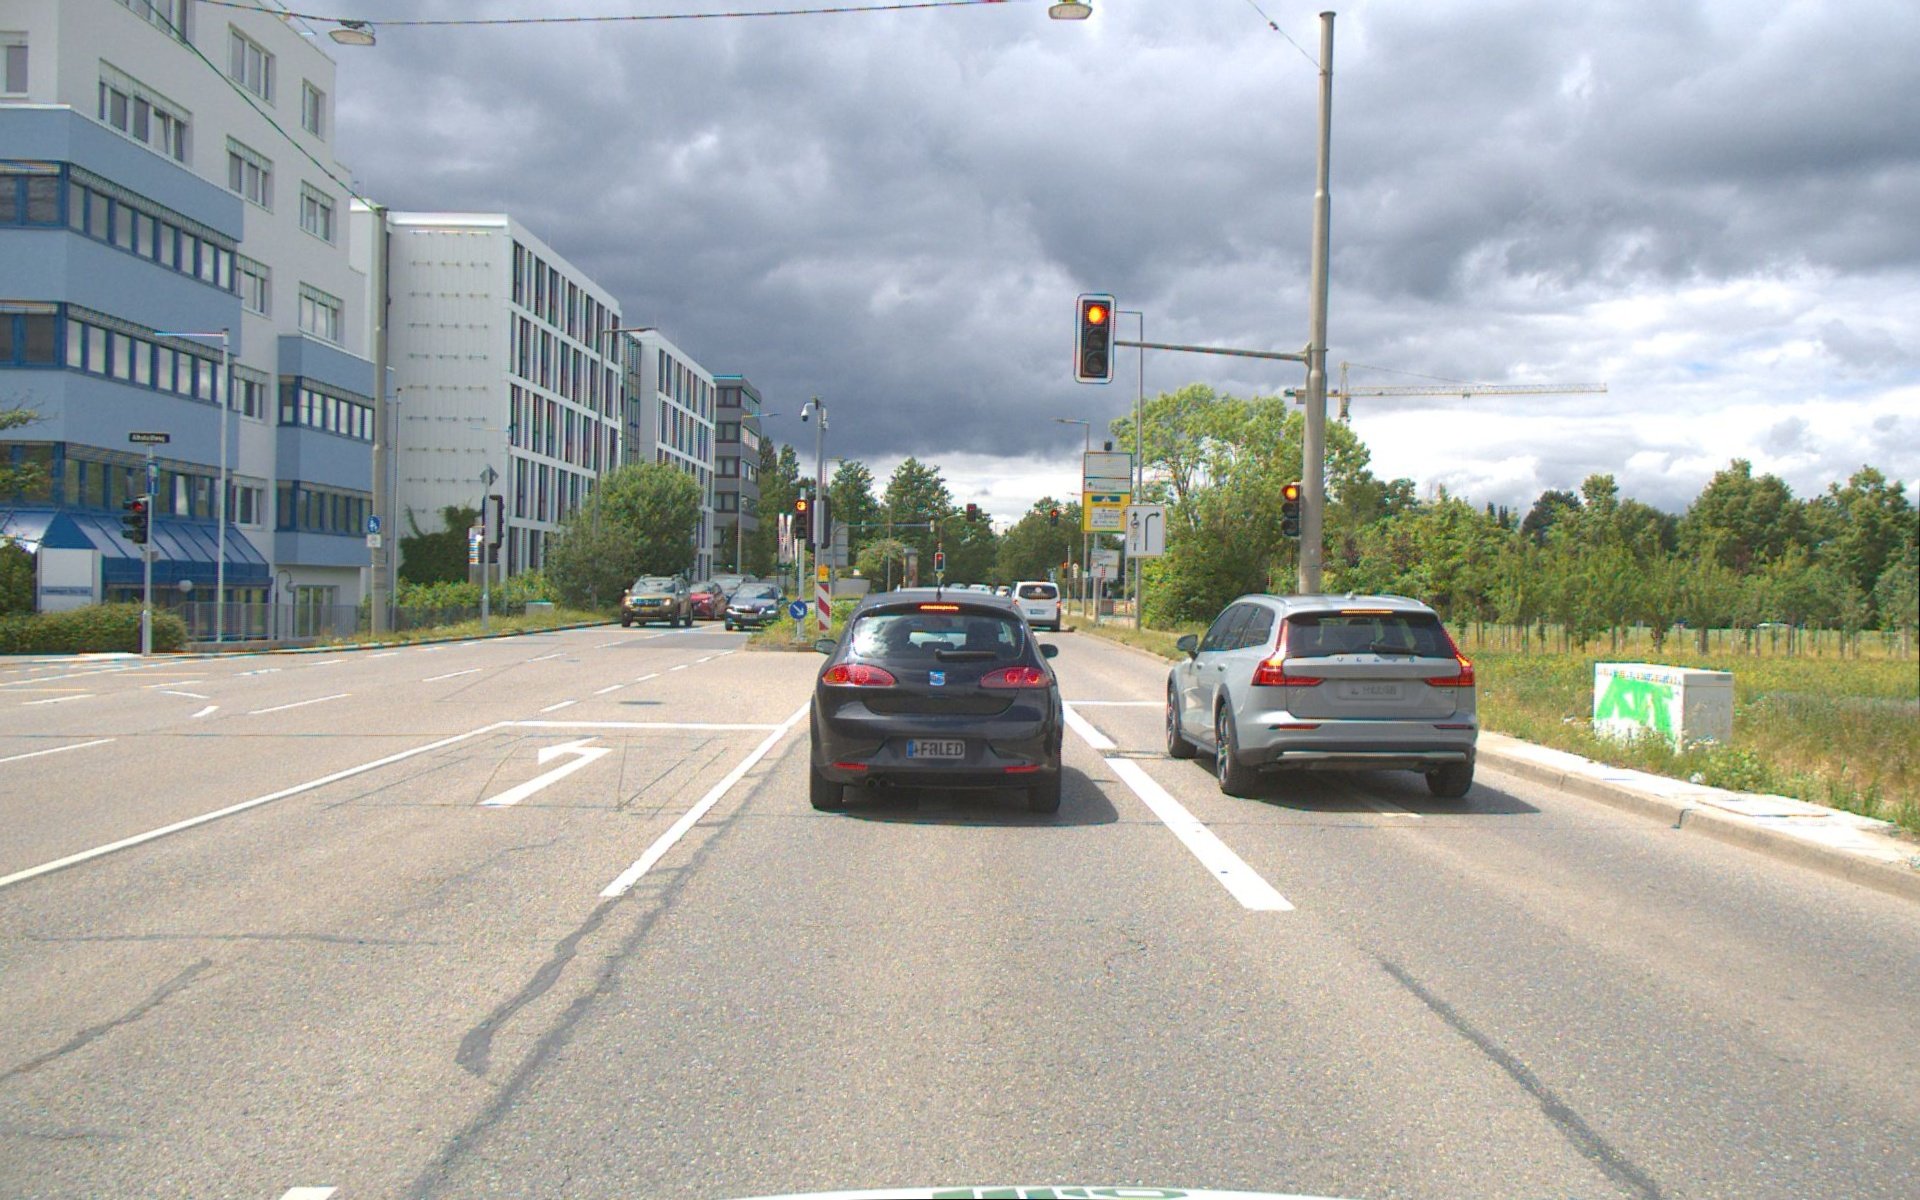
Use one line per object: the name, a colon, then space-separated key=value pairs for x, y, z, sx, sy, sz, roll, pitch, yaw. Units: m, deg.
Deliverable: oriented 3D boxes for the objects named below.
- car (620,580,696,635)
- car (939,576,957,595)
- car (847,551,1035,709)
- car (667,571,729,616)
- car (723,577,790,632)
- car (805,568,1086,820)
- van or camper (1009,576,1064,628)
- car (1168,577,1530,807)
car: x=-9.617 y=0.216 z=52.894 sx=1.715 sy=1.659 sz=3.999 roll=-1 pitch=0 yaw=-1
car: x=-1.312 y=-1.565 z=177.659 sx=1.953 sy=2.049 sz=3.999 roll=1 pitch=0 yaw=-1
car: x=-0.255 y=0.303 z=19.424 sx=1.943 sy=1.618 sz=4.225 roll=1 pitch=0 yaw=-2
car: x=-9.896 y=-0.246 z=62.712 sx=1.740 sy=1.640 sz=3.999 roll=1 pitch=0 yaw=-1
car: x=-6.352 y=0.119 z=51.871 sx=1.635 sy=1.551 sz=4.008 roll=-1 pitch=2 yaw=-1
car: x=-0.009 y=0.587 z=12.335 sx=1.711 sy=1.509 sz=4.001 roll=2 pitch=0 yaw=2
van or camper: x=2.947 y=0.081 z=64.225 sx=1.861 sy=1.959 sz=3.999 roll=1 pitch=0 yaw=-1
car: x=2.937 y=0.635 z=13.495 sx=1.918 sy=1.552 sz=4.340 roll=-1 pitch=0 yaw=0
